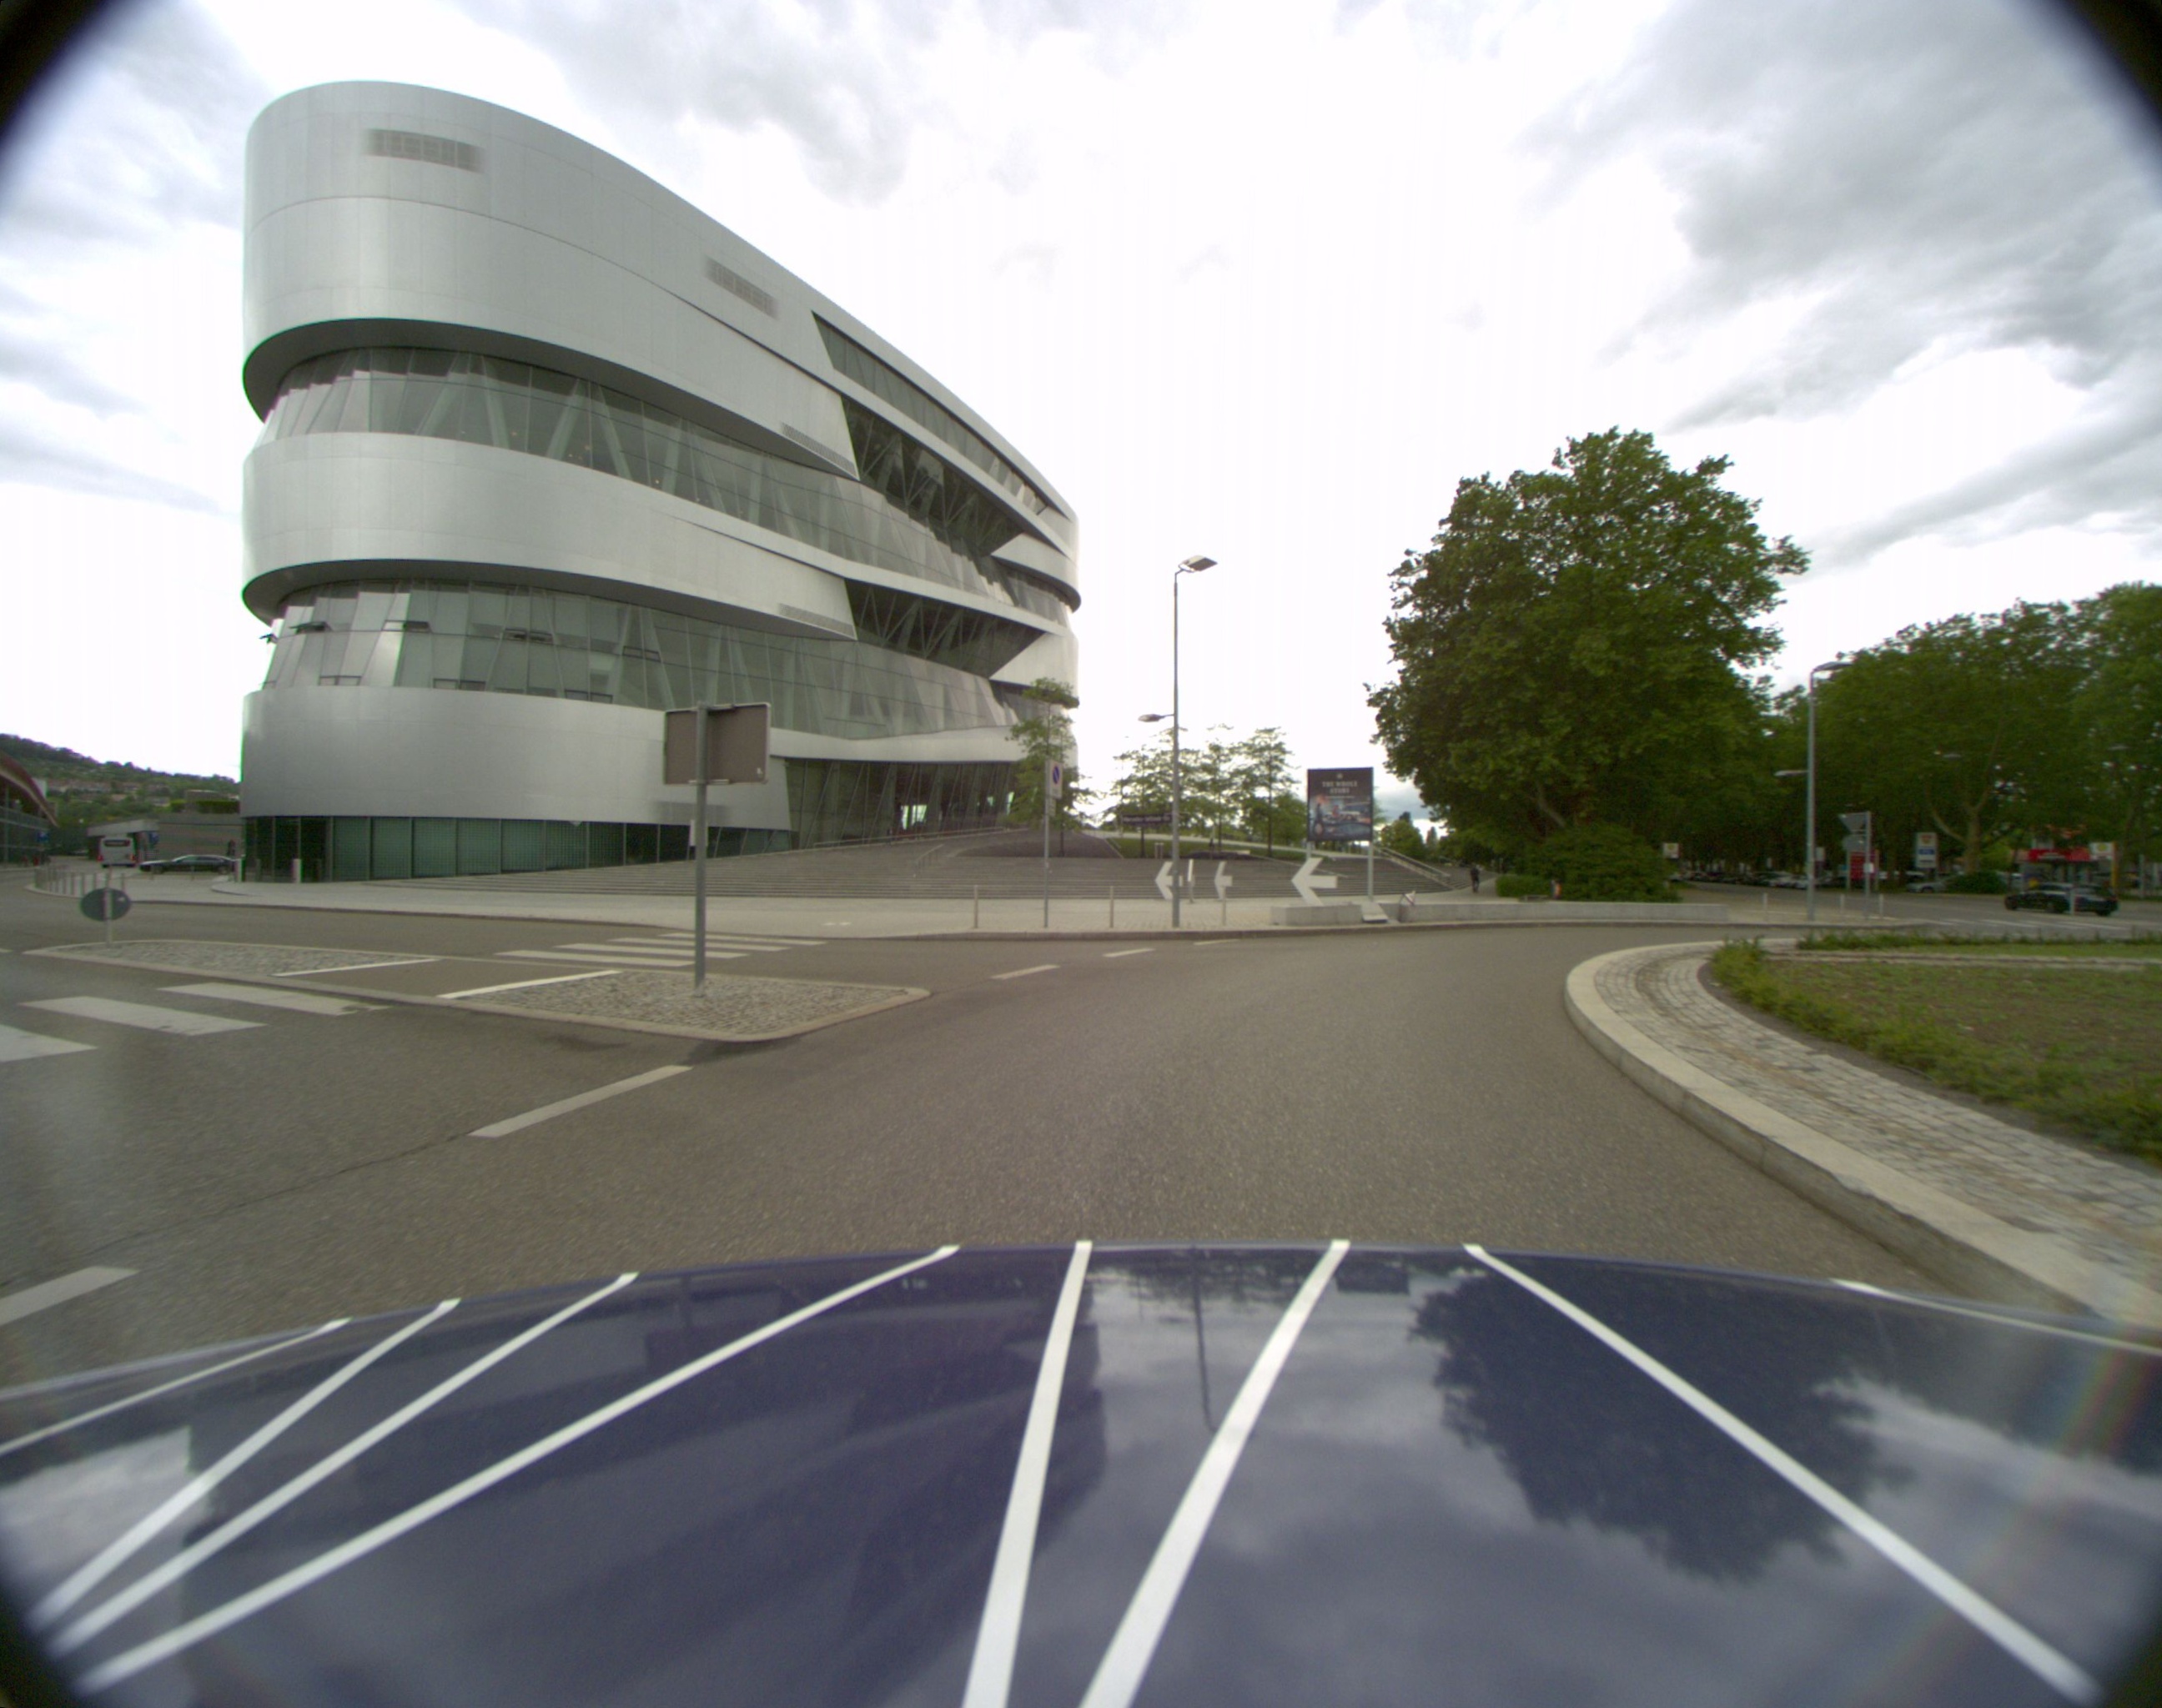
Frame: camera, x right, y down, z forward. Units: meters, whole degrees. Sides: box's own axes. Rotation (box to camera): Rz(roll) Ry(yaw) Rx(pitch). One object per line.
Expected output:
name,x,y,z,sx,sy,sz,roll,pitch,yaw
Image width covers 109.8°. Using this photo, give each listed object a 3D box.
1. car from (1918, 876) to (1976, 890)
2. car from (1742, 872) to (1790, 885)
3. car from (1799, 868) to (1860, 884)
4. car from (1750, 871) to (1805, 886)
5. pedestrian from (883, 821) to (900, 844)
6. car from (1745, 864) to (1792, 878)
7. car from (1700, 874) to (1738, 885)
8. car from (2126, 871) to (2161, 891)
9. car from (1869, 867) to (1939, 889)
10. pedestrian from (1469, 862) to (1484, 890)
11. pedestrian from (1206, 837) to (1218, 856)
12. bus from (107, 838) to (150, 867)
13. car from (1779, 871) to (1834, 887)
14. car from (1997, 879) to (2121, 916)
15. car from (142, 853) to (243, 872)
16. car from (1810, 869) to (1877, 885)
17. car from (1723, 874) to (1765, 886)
car,97.537,3.223,85.649,3.996,1.509,1.876,-1,-2,39
car,79.436,2.806,88.149,3.996,1.509,1.876,-1,-2,37
car,72.464,2.079,73.669,3.996,1.509,1.876,-1,-2,37
car,72.163,2.522,78.809,3.996,1.600,1.872,-1,-2,37
pedestrian,-15.770,-1.796,63.355,0.850,1.914,0.954,0,3,34
car,81.617,2.000,90.267,3.995,1.509,1.876,0,0,37
car,89.805,3.608,106.940,3.996,1.509,1.876,-1,-2,37
car,80.105,1.987,55.516,3.996,1.509,1.876,-1,-2,37
car,69.615,2.011,64.312,3.701,1.767,1.674,-1,-2,31
pedestrian,24.415,1.356,46.927,0.595,1.751,0.554,1,-1,-15
pedestrian,10.167,-0.583,59.044,0.790,1.379,0.683,0,-1,0
bus,-116.809,-0.105,93.259,6.947,3.420,2.939,-1,-2,41
car,75.339,2.566,78.938,3.996,1.600,1.872,-1,-2,39
car,45.768,1.985,35.727,1.792,1.554,4.738,0,-2,28
car,-68.122,0.708,58.383,1.531,1.389,4.919,-1,-2,44
car,71.416,2.158,71.254,4.164,1.509,1.876,-1,-2,37
car,85.713,3.356,98.299,3.996,1.509,1.876,-1,-2,37
